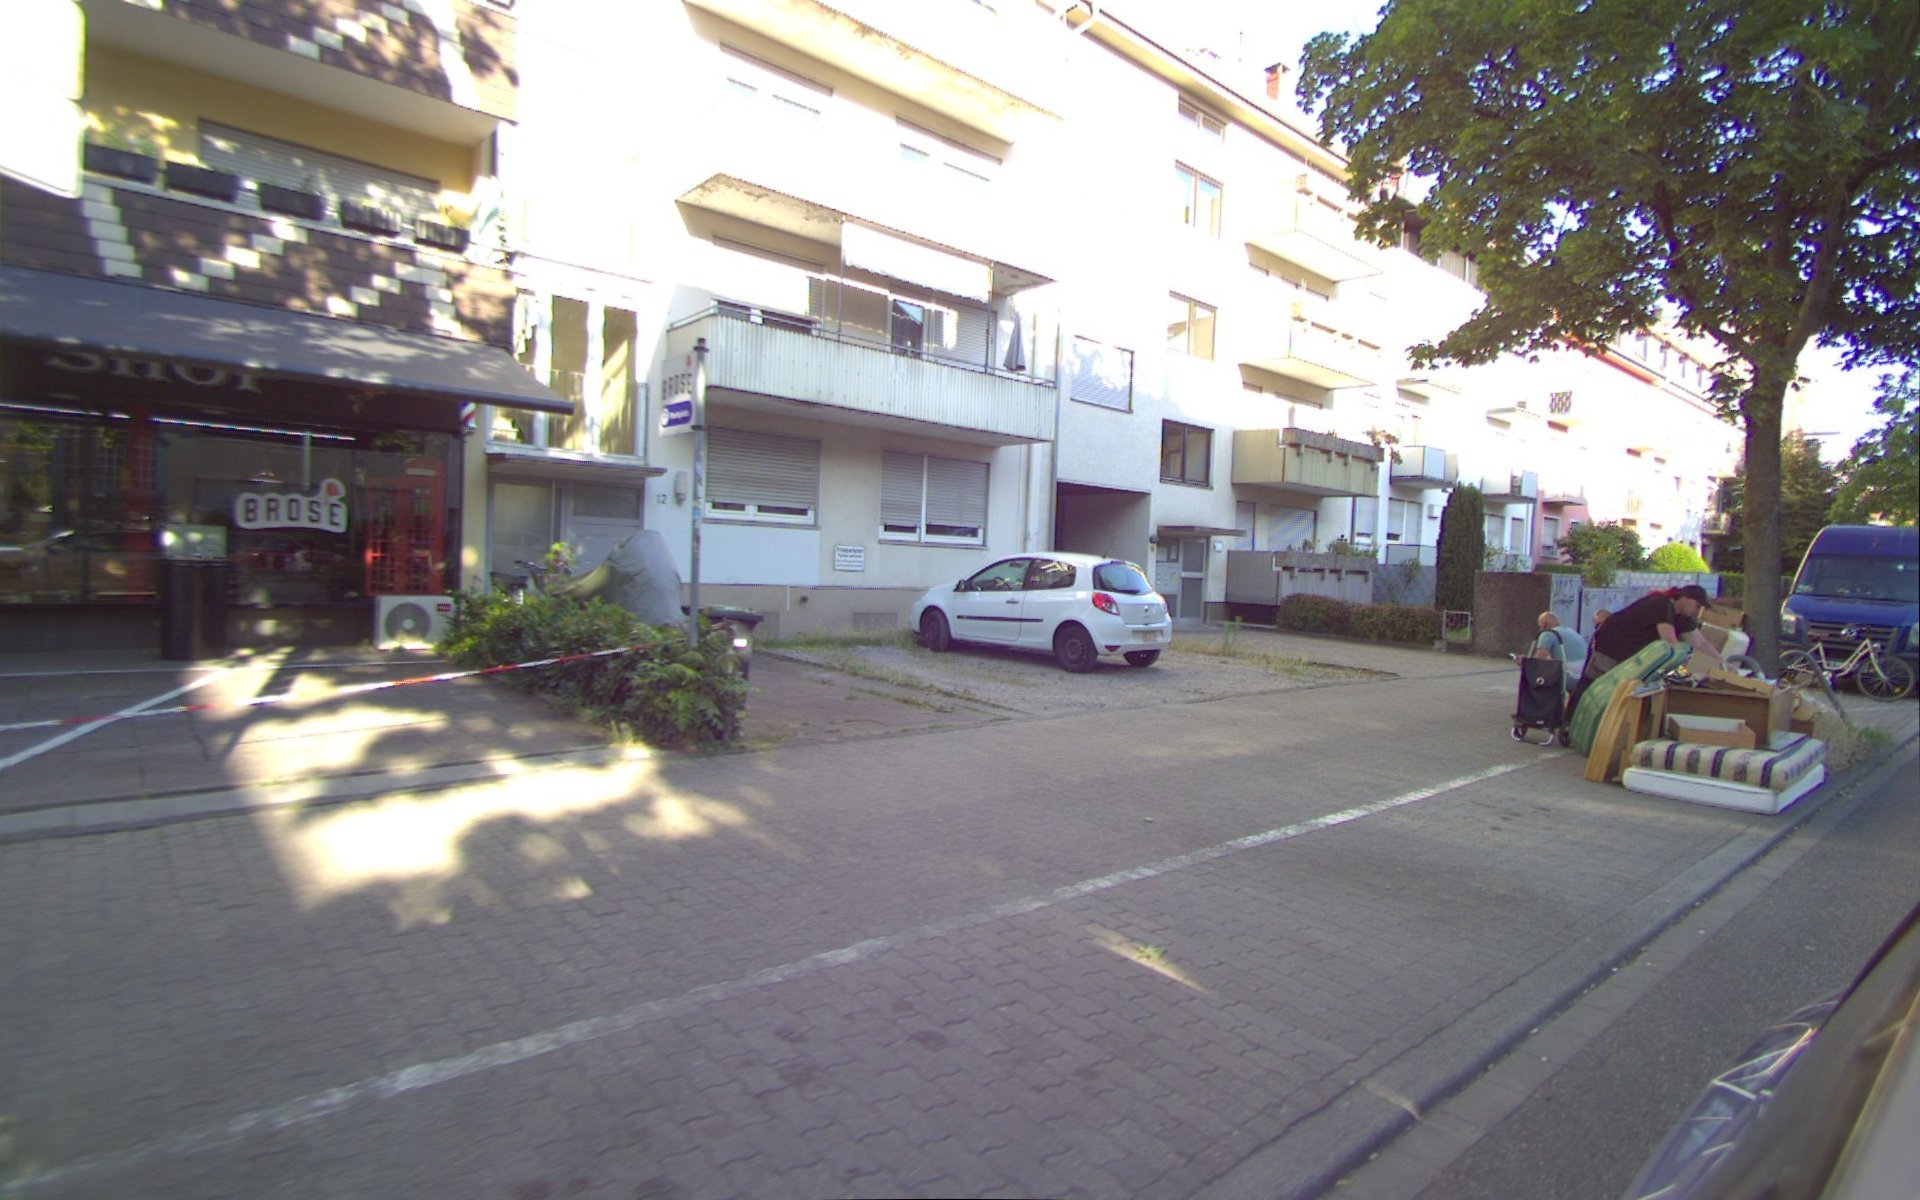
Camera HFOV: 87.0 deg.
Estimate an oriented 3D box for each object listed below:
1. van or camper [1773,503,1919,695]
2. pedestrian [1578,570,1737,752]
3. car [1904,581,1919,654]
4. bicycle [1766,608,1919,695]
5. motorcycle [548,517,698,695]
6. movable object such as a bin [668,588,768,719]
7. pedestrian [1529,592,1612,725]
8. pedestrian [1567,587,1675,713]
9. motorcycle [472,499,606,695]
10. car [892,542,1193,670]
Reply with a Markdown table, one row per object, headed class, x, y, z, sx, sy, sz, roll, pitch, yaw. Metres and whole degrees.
| class | x | y | z | sx | sy | sz | roll | pitch | yaw |
| --- | --- | --- | --- | --- | --- | --- | --- | --- | --- |
| van or camper | 15.450 | -0.079 | 16.695 | 5.885 | 2.708 | 2.072 | -1 | 3 | -41 |
| pedestrian | 6.154 | 0.502 | 8.983 | 1.057 | 1.494 | 0.474 | 3 | 2 | 30 |
| car | 23.773 | 0.409 | 23.950 | 3.694 | 1.662 | 1.775 | -1 | 4 | -43 |
| bicycle | 12.852 | 0.717 | 14.704 | 0.397 | 1.102 | 1.707 | 1 | 2 | -37 |
| motorcycle | -3.535 | 0.003 | 10.472 | 0.872 | 1.641 | 2.203 | 1 | 2 | -34 |
| movable object such as a bin | -1.925 | 0.402 | 8.027 | 0.530 | 0.961 | 0.614 | 1 | 2 | -40 |
| pedestrian | 6.189 | 0.566 | 10.295 | 0.650 | 1.270 | 0.651 | 3 | 2 | 30 |
| pedestrian | 7.174 | 0.517 | 10.992 | 0.689 | 1.270 | 0.798 | 1 | 2 | -43 |
| motorcycle | -4.028 | -0.077 | 9.561 | 0.717 | 1.641 | 2.203 | 1 | 2 | -34 |
| car | 1.035 | -0.012 | 14.194 | 1.794 | 1.480 | 3.992 | 0 | 3 | -44 |
